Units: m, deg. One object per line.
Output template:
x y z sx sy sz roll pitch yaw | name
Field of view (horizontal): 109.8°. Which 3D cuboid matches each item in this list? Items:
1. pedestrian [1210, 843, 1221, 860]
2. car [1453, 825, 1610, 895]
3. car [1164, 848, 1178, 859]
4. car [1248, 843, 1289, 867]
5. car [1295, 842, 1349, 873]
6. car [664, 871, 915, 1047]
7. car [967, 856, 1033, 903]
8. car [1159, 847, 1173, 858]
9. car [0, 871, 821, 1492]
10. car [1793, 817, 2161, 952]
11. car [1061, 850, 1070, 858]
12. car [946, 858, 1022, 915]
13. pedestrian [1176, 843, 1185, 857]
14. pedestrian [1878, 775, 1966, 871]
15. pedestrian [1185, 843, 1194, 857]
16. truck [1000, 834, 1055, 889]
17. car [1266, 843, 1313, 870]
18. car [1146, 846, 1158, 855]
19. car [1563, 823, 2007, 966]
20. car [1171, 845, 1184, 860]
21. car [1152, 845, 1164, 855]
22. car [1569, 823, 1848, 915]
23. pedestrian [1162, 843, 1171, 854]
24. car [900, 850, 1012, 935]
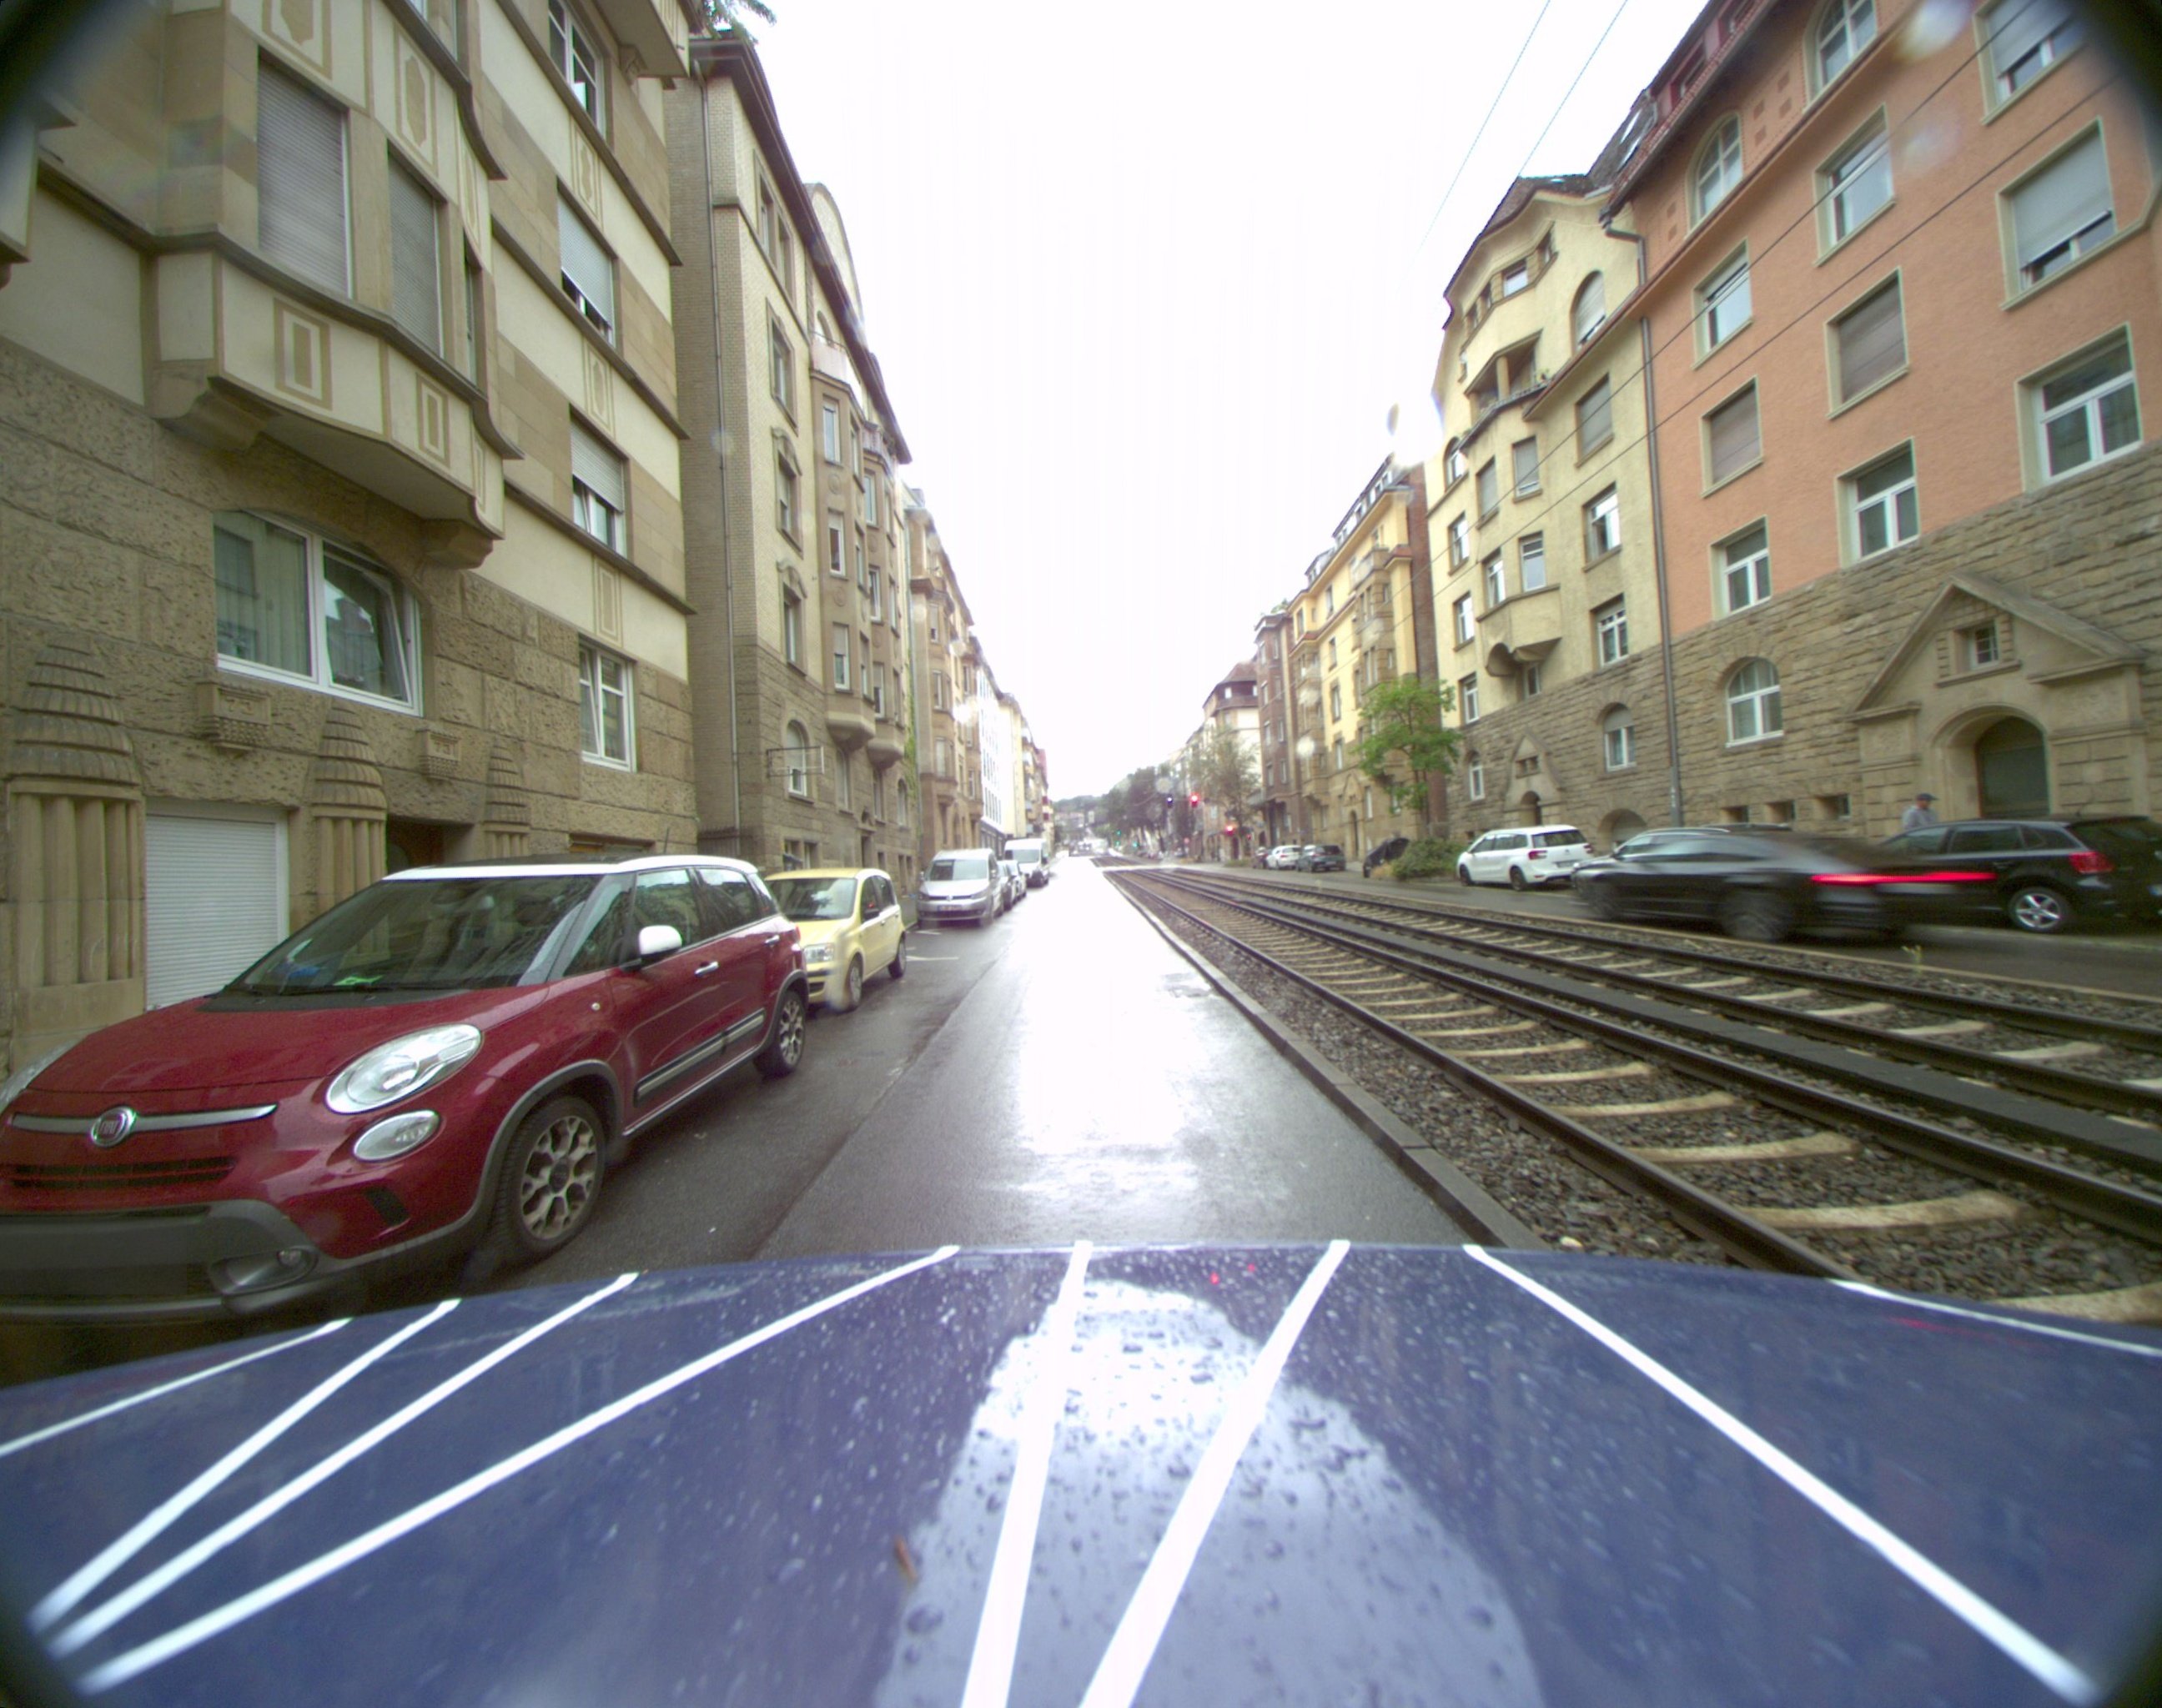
15.169 -0.278 85.774 1.056 1.946 1.163 -3 1 2 | pedestrian
12.286 0.138 21.069 1.867 1.646 4.146 -3 0 1 | car
12.588 -0.077 106.406 1.583 1.303 3.845 -3 0 1 | car
12.495 0.074 50.770 1.771 1.433 3.845 -3 0 1 | car
12.518 0.135 39.637 1.678 1.433 3.845 -4 1 3 | car
-3.175 1.047 9.064 1.580 1.520 3.578 -3 0 -1 | car
-2.939 0.891 28.339 1.891 1.521 3.929 -3 0 1 | car
12.883 -0.264 115.388 1.771 1.507 3.845 -3 0 1 | car
-3.020 0.984 4.115 1.807 1.590 3.999 -3 0 -1 | car
12.542 0.316 10.489 1.935 1.488 3.642 -2 1 -2 | car
-3.896 -0.006 194.793 1.998 1.838 4.000 -3 0 1 | car
-2.950 0.948 23.838 1.999 1.521 3.999 -3 0 -3 | car
14.615 -0.564 111.569 1.056 1.946 1.163 -3 1 2 | pedestrian
14.901 -0.537 13.486 0.701 1.633 0.765 -2 1 1 | pedestrian
15.945 -0.615 111.542 1.056 1.946 1.163 -3 1 2 | pedestrian
-2.710 0.354 39.968 2.235 2.521 6.143 -3 0 1 | truck
12.485 0.126 45.676 1.771 1.433 4.031 -3 0 2 | car
12.449 -0.617 133.727 1.632 1.537 3.801 -3 0 1 | car
9.448 0.447 10.973 1.807 1.514 4.964 -3 0 1 | car
12.686 -0.224 99.568 1.583 1.669 3.790 -3 2 7 | car
12.852 -0.619 126.858 1.657 1.589 3.775 -3 0 1 | car
12.305 0.249 15.407 1.847 1.486 4.601 -3 0 1 | car
15.622 -1.006 138.978 1.380 1.946 1.379 -3 1 2 | pedestrian
-2.996 0.857 19.222 1.968 1.792 4.459 -3 0 1 | car
